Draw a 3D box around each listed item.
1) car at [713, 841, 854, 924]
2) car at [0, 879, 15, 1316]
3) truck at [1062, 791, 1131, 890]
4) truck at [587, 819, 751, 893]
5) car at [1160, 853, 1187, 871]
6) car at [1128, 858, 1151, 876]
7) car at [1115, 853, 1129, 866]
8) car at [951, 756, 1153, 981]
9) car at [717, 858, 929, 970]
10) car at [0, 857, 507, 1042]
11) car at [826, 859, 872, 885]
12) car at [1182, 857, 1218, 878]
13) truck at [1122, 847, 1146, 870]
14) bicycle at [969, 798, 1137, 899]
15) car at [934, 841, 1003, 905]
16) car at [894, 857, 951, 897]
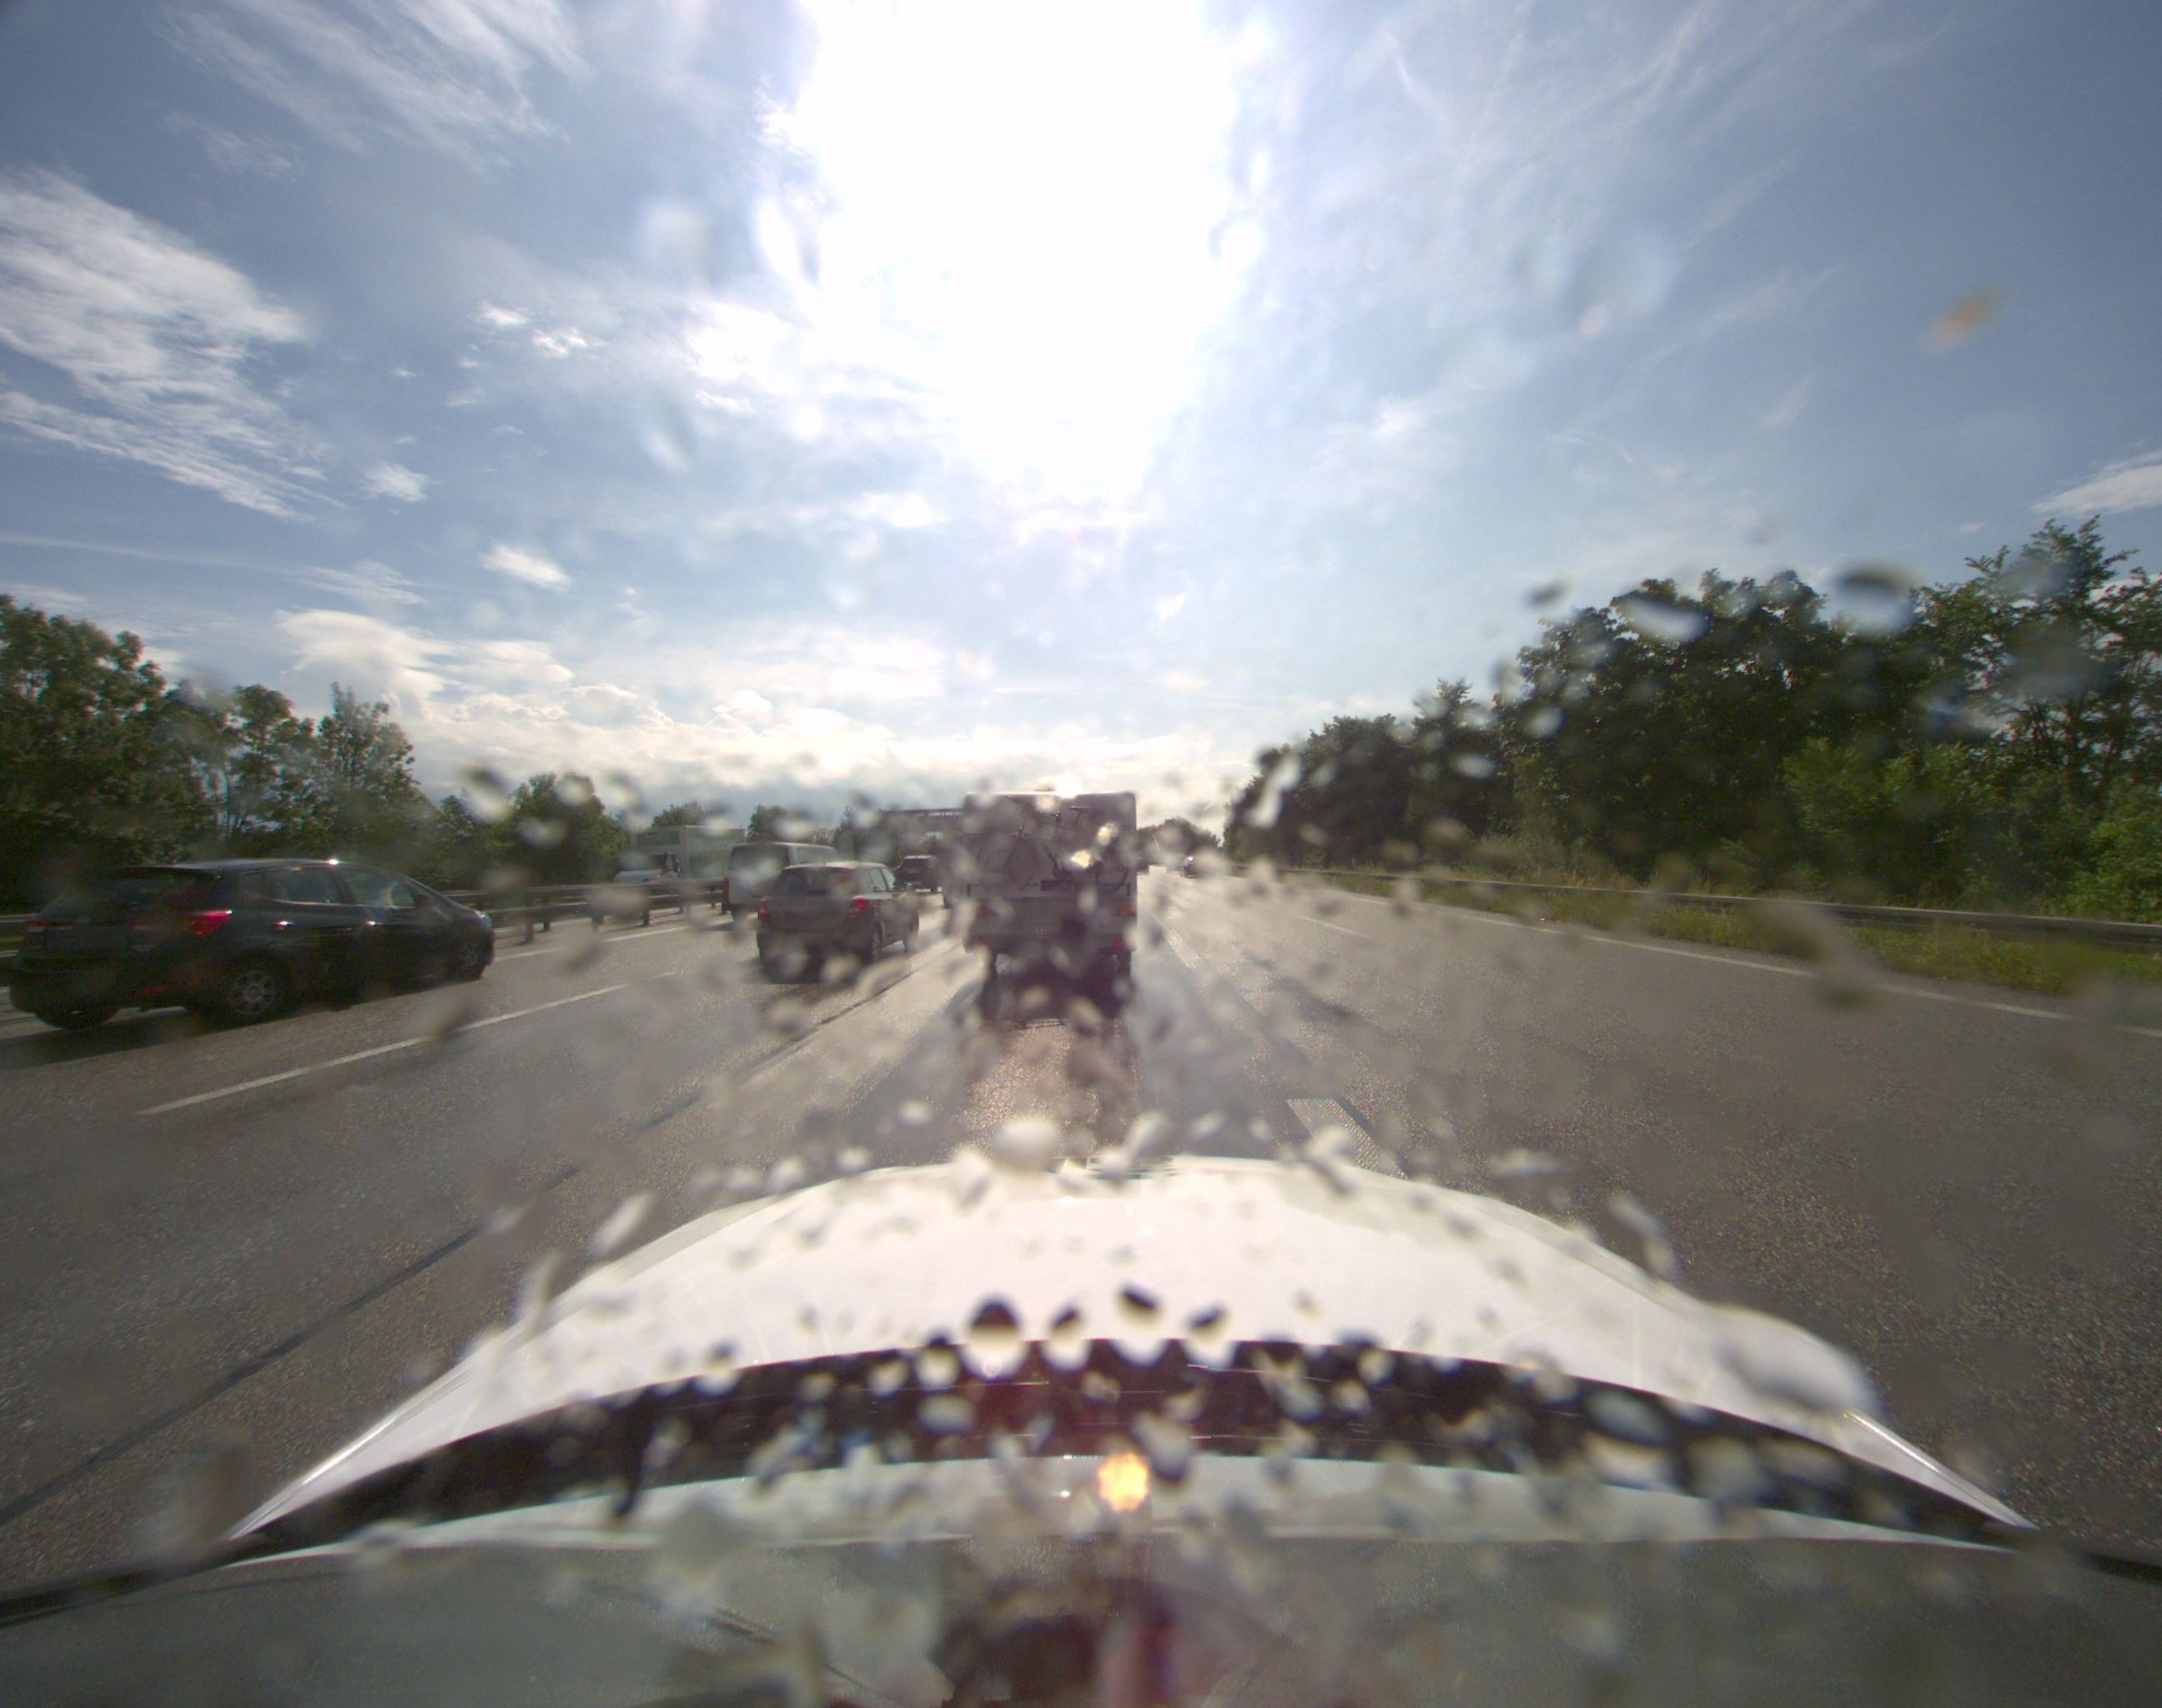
[{"bbox_3d":[-7.736,0.683,21.787,1.841,1.934,5.017,-1,0,1],"label":"car"},{"bbox_3d":[-4.537,0.813,0.755,1.752,1.443,4.002,-1,0,2],"label":"car"},{"bbox_3d":[0.775,-0.615,43.550,3.135,4.626,10.735,-1,0,0],"label":"truck"},{"bbox_3d":[-18.539,0.111,37.518,2.905,2.987,8.724,0,-1,1],"label":"truck"},{"bbox_3d":[8.498,0.738,74.967,1.872,1.629,3.996,0,-1,-2],"label":"car"},{"bbox_3d":[5.098,1.118,71.370,1.828,1.558,4.002,0,-1,2],"label":"car"},{"bbox_3d":[5.363,0.726,106.617,1.713,1.684,4.002,-1,0,2],"label":"car"},{"bbox_3d":[-0.276,0.189,11.734,2.401,2.674,4.002,0,-1,2],"label":"car"},{"bbox_3d":[-3.809,0.812,12.800,1.980,1.458,3.828,-1,0,2],"label":"car"},{"bbox_3d":[-8.698,0.841,9.017,1.776,1.578,3.918,-1,0,2],"label":"car"},{"bbox_3d":[-14.556,1.107,51.295,1.692,1.486,3.999,-1,0,0],"label":"car"},{"bbox_3d":[8.514,0.958,58.433,1.872,1.494,3.996,0,-1,-2],"label":"car"},{"bbox_3d":[5.696,0.497,88.512,2.406,2.444,6.056,-1,0,2],"label":"truck"},{"bbox_3d":[-0.319,-0.059,9.528,1.926,1.141,0.384,0,-1,1],"label":"bicycle"},{"bbox_3d":[-3.765,0.621,27.905,1.871,2.014,3.998,0,-1,-1],"label":"car"},{"bbox_3d":[-6.977,0.971,36.179,1.767,1.662,3.998,0,-1,-1],"label":"car"}]
